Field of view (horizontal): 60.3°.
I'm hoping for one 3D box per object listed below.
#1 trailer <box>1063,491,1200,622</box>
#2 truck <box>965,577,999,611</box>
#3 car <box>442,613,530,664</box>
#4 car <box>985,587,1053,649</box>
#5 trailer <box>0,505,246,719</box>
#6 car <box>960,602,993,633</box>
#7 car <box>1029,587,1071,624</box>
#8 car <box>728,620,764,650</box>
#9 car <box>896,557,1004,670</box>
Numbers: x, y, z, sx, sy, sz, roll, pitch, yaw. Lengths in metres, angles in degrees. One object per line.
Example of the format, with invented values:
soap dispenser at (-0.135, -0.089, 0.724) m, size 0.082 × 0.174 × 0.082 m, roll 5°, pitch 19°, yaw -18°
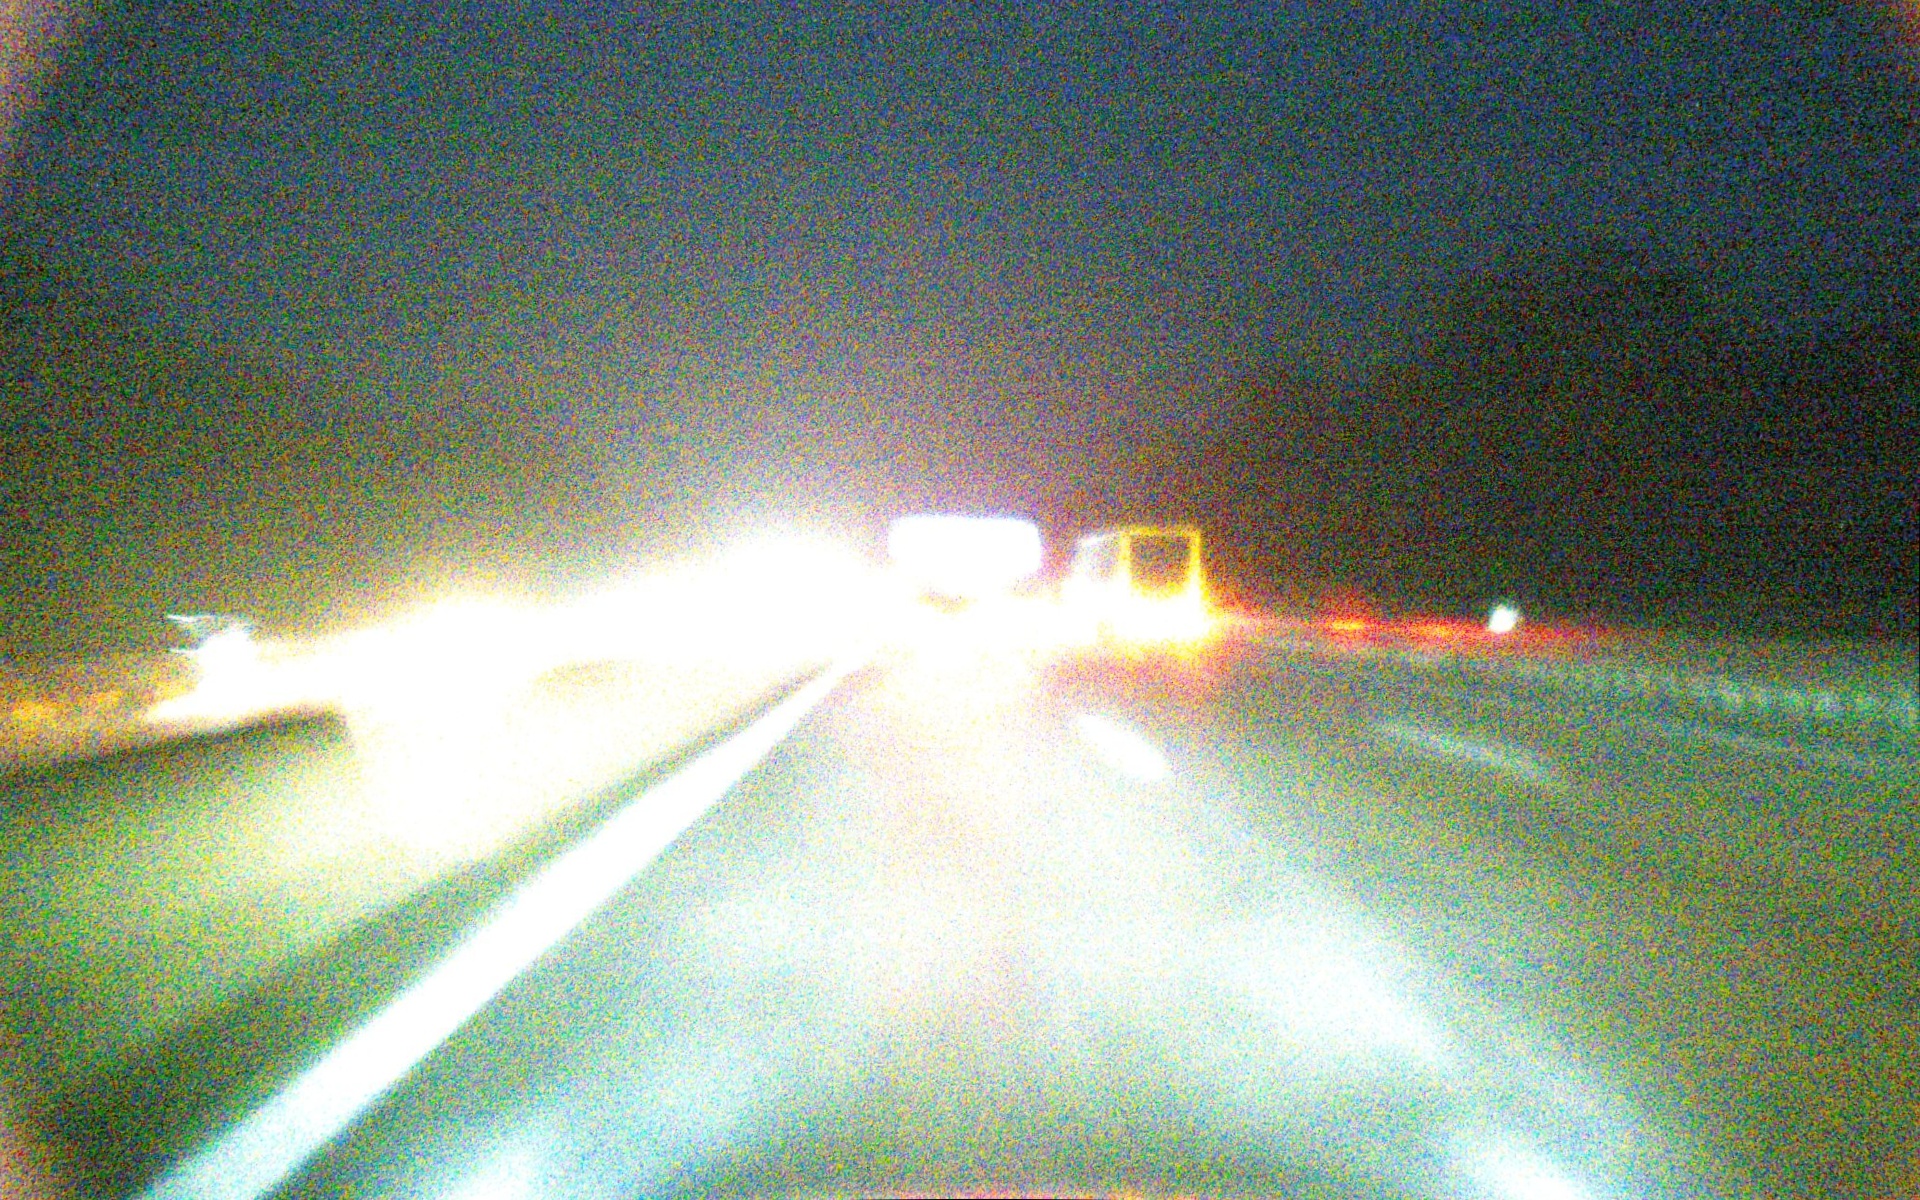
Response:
trailer at (6.034, -1.400, 60.863) m, size 2.980 × 4.180 × 13.822 m, roll -2°, pitch 0°, yaw -2°
truck at (2.245, -0.572, 174.717) m, size 2.976 × 3.355 × 11.375 m, roll -2°, pitch 0°, yaw -2°
car at (-17.074, 1.369, 59.781) m, size 1.877 × 1.713 × 4.505 m, roll -2°, pitch -1°, yaw 0°
car at (2.039, 0.623, 58.275) m, size 1.954 × 2.049 × 3.997 m, roll -2°, pitch 0°, yaw -4°
trailer at (-16.602, 0.208, 28.468) m, size 3.012 × 3.353 × 13.154 m, roll -1°, pitch 0°, yaw -1°
car at (1.141, 1.214, 117.007) m, size 1.954 × 2.049 × 3.997 m, roll -2°, pitch 0°, yaw -4°
car at (5.274, 0.315, 97.628) m, size 1.954 × 2.049 × 3.997 m, roll -2°, pitch 0°, yaw -4°
car at (-14.269, 2.304, 110.676) m, size 1.953 × 1.791 × 4.653 m, roll 1°, pitch 1°, yaw -2°
car at (-0.207, 0.254, 31.995) m, size 1.953 × 2.049 × 3.999 m, roll 0°, pitch 0°, yaw -1°
